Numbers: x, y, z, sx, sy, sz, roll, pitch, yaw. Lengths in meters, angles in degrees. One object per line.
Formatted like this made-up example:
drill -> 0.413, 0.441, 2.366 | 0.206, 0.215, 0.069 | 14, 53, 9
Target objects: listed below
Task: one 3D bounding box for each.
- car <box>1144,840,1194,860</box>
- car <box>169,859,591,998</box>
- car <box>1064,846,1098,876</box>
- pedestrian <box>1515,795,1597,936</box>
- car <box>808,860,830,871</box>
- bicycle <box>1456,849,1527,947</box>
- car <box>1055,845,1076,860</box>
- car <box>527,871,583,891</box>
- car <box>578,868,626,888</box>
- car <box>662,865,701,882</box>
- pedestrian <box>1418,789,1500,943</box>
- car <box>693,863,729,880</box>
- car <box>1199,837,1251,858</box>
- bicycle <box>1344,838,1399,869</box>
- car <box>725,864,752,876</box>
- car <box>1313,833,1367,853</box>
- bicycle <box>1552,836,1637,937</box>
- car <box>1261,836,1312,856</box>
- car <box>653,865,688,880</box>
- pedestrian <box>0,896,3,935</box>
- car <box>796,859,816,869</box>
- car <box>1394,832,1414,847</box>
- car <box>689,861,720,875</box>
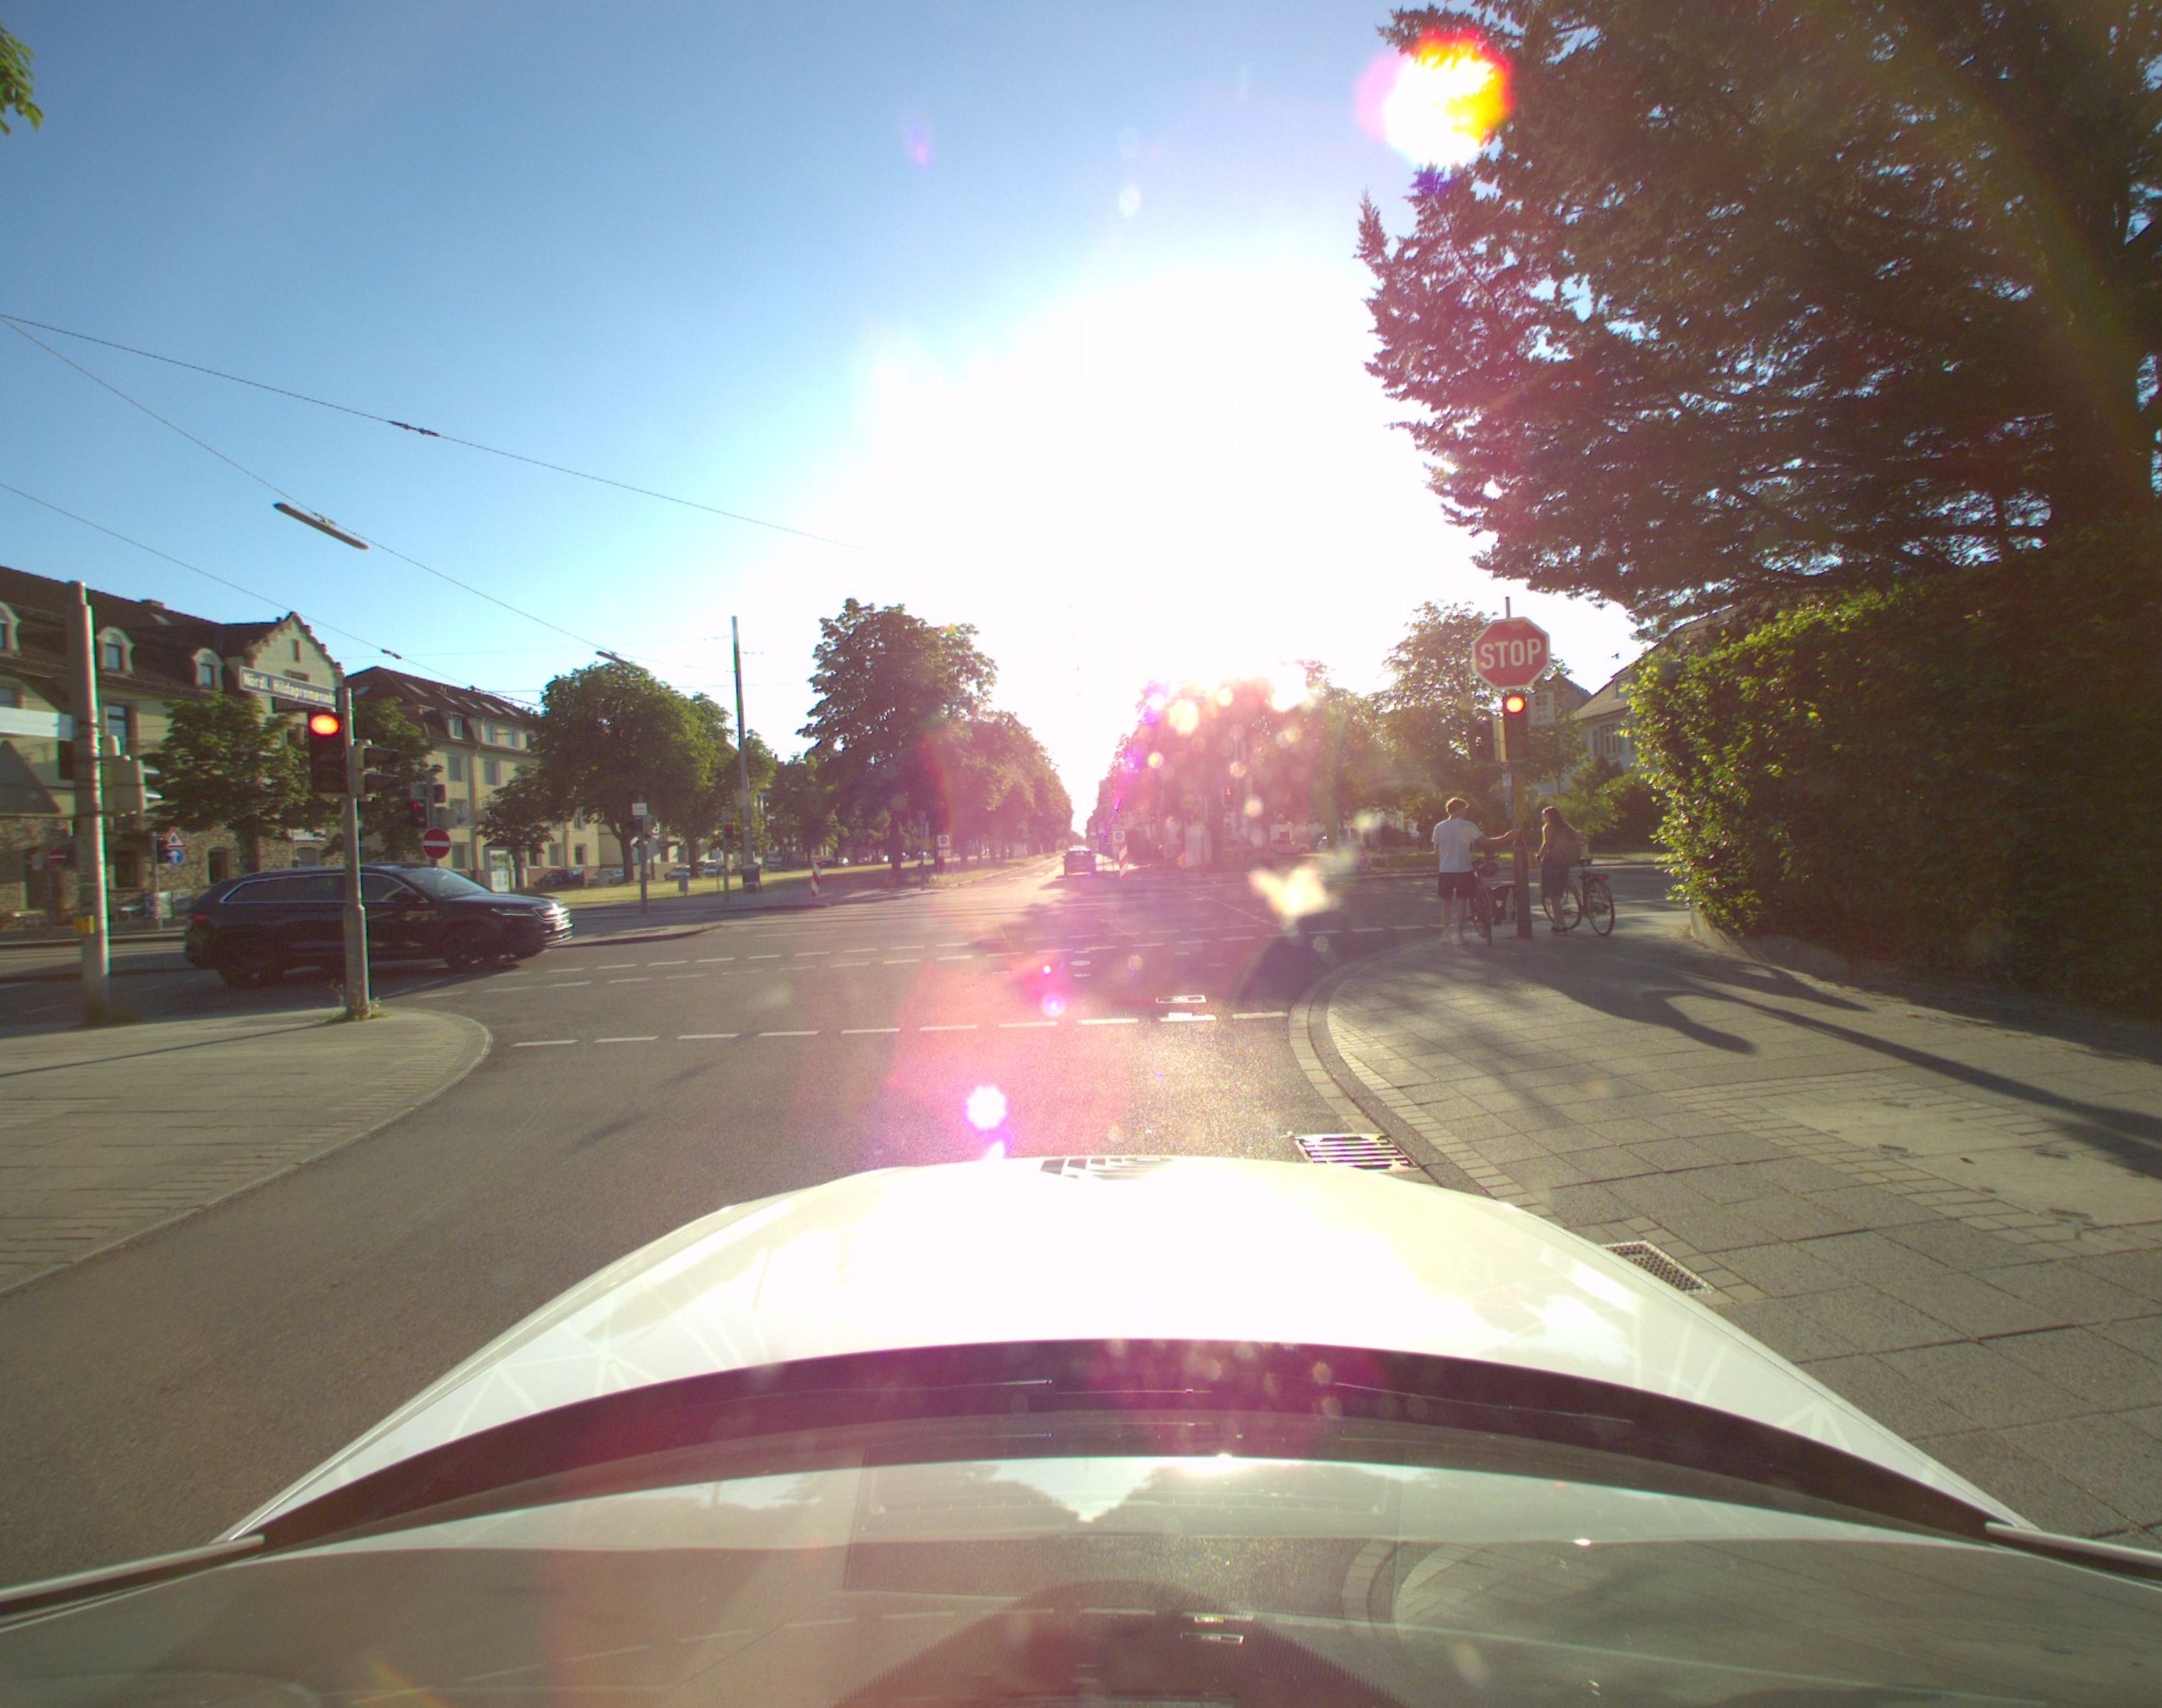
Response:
car -> 7.004, -0.316, 64.989 | 3.767, 1.427, 1.744 | -2, 2, 0
car -> -10.520, 1.038, 12.614 | 4.548, 1.663, 1.873 | -3, 0, -10
car -> 0.035, 0.350, 44.026 | 1.634, 1.450, 3.310 | -2, 1, 3
pedestrian -> 6.069, 0.133, 10.445 | 0.663, 1.708, 0.626 | -6, 1, 20
car -> -37.708, 1.595, 117.255 | 1.732, 1.427, 3.793 | -2, 0, 1
bicycle -> 5.230, 0.519, 10.456 | 0.483, 1.097, 1.799 | -5, -1, 19
car -> -1.469, -0.181, 78.021 | 1.839, 1.393, 3.829 | -2, 1, 1
car -> -43.115, 2.218, 66.855 | 1.729, 1.397, 3.799 | -2, 0, 6
car -> -43.070, 2.143, 73.272 | 1.729, 1.427, 3.800 | -2, 2, 6
car -> -37.335, 1.809, 76.220 | 1.732, 1.427, 3.793 | -2, 1, 1
pedestrian -> 4.919, 0.156, 10.662 | 0.665, 1.865, 0.886 | -8, -3, 19
car -> -37.395, 1.772, 82.436 | 1.732, 1.427, 3.793 | -2, 2, 1
car -> 11.503, -0.514, 65.209 | 3.767, 1.525, 1.744 | -2, 2, 0
bicycle -> 11.647, -0.019, 32.714 | 1.946, 1.132, 0.620 | -3, 0, 2
car -> -43.531, 2.023, 103.552 | 1.732, 1.427, 3.793 | -2, 0, 1
car -> 20.896, -0.895, 65.705 | 3.838, 1.427, 1.595 | -2, 0, -4
bicycle -> 6.464, 0.367, 10.323 | 0.483, 1.142, 1.606 | -5, 0, 19
car -> 16.384, -0.636, 65.038 | 3.656, 1.427, 1.529 | -2, 0, -4
car -> -43.919, 1.998, 87.187 | 1.732, 1.427, 3.793 | -3, 0, 1
pedestrian -> -45.366, 2.574, 33.608 | 0.808, 1.642, 0.727 | -2, 0, 8
car -> -43.089, 1.517, 127.638 | 1.732, 1.427, 3.793 | -2, 0, 1
car -> 33.124, -1.502, 83.432 | 1.649, 1.417, 3.563 | -2, 0, 24
car -> -43.109, 1.581, 93.263 | 1.732, 1.427, 3.793 | -2, 0, 1
